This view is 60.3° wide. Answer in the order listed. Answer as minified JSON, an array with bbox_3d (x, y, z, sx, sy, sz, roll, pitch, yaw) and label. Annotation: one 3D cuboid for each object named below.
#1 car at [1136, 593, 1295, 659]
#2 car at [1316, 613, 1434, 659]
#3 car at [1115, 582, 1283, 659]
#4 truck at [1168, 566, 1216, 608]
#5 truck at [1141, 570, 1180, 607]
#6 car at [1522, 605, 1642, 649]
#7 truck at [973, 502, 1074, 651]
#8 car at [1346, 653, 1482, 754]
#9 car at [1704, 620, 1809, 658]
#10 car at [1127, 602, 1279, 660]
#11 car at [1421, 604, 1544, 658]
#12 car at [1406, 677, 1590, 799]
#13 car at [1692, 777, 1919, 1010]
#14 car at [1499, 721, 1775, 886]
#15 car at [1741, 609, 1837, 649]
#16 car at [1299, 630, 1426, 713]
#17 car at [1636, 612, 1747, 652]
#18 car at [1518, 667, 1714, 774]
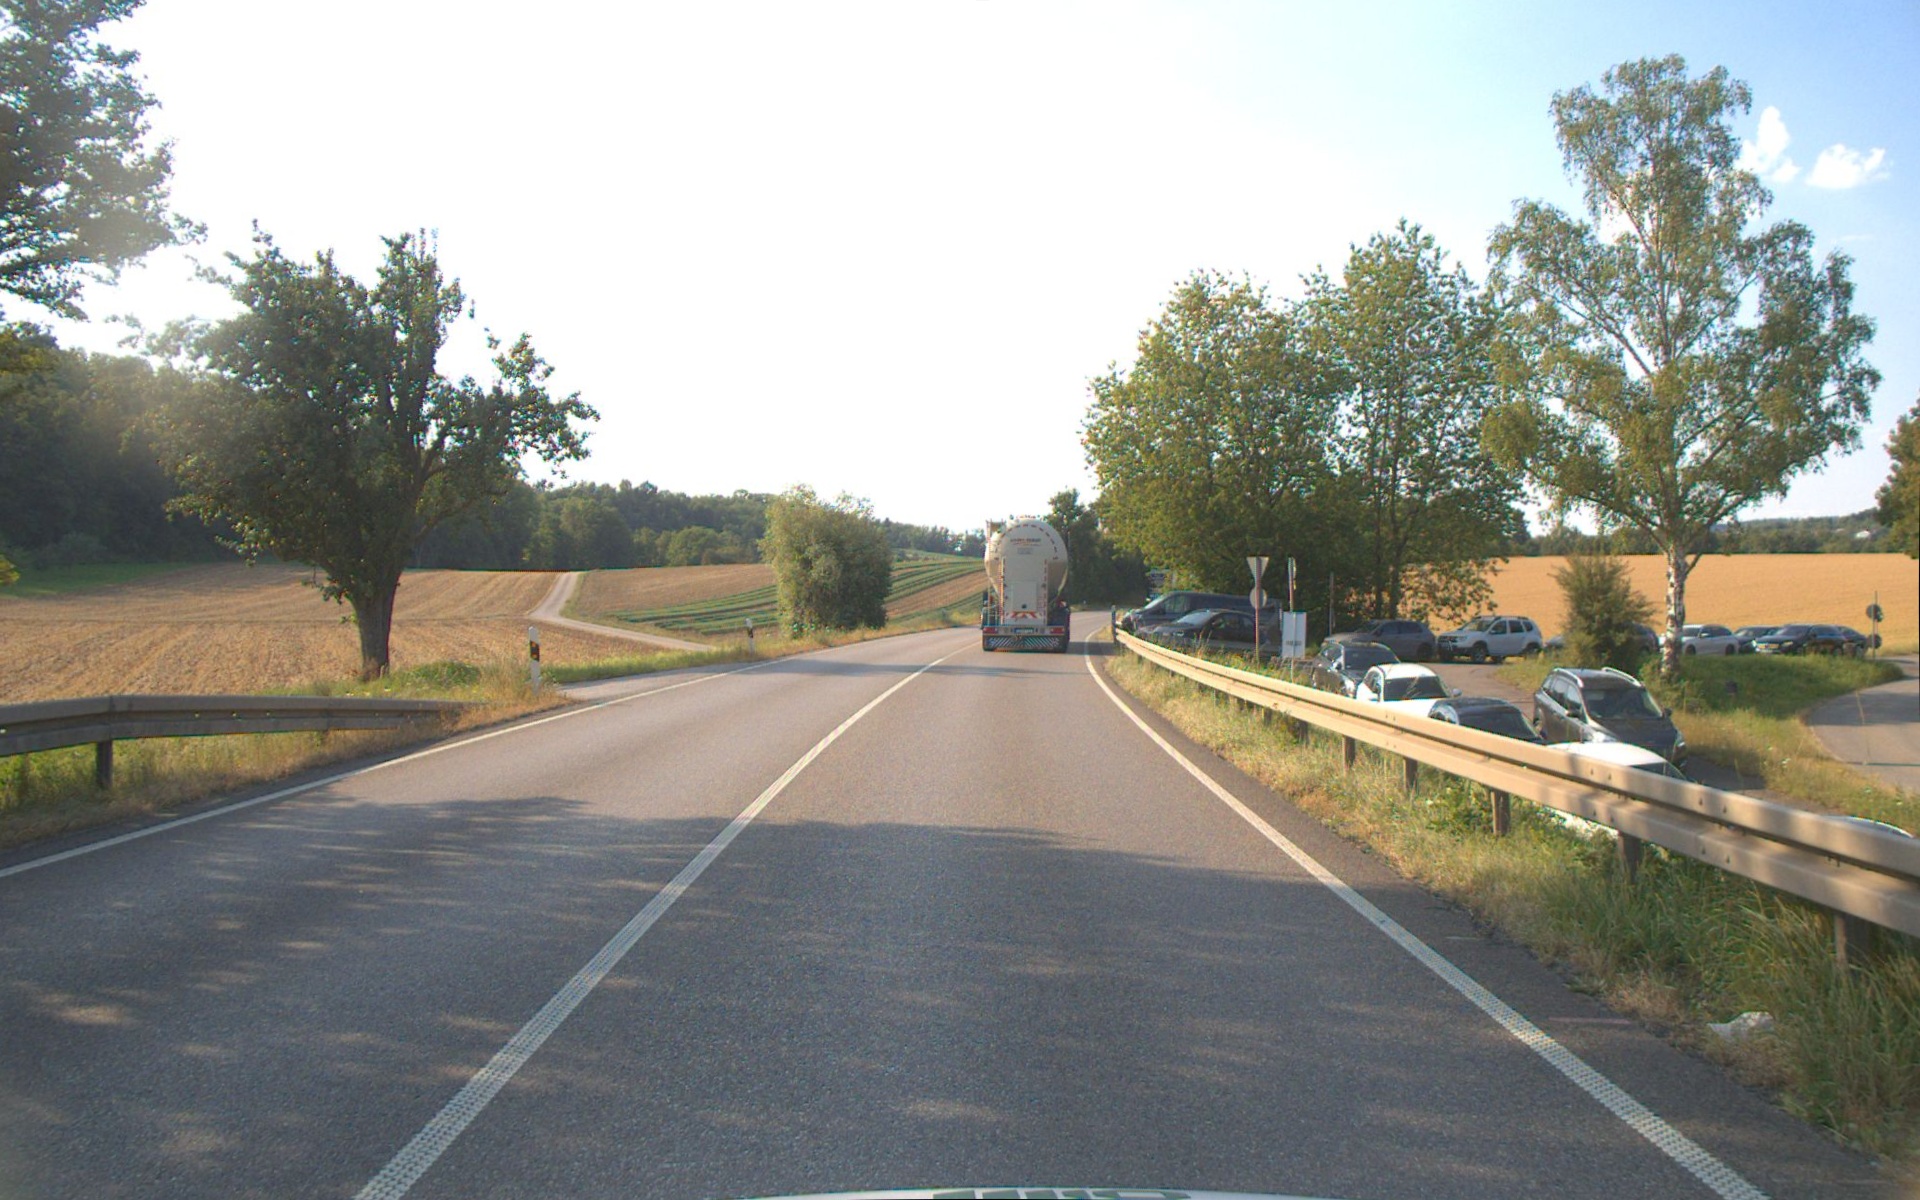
[{"bbox_3d":[7.271,0.739,46.944,4.263,1.535,1.705,4,0,-29],"label":"car"},{"bbox_3d":[14.523,1.254,57.872,3.669,1.466,1.798,2,0,-24],"label":"car"},{"bbox_3d":[7.689,0.629,53.568,5.035,1.977,1.975,5,1,1],"label":"car"},{"bbox_3d":[24.807,-1.458,176.259,3.116,4.301,13.181,0,1,17],"label":"truck"},{"bbox_3d":[22.350,-1.273,183.769,2.339,3.989,10.165,0,1,18],"label":"truck"},{"bbox_3d":[22.356,0.978,59.392,4.536,1.466,1.790,2,0,-35],"label":"car"},{"bbox_3d":[2.174,-0.699,53.689,2.832,4.215,13.177,1,0,3],"label":"truck"},{"bbox_3d":[9.694,2.160,35.650,1.852,1.586,4.786,-3,2,4],"label":"car"},{"bbox_3d":[33.768,1.629,70.090,4.586,1.533,1.977,1,0,-34],"label":"car"},{"bbox_3d":[7.308,0.938,49.771,4.257,1.424,1.707,4,1,-26],"label":"car"},{"bbox_3d":[18.988,1.098,60.075,4.150,1.778,1.797,-1,1,-25],"label":"car"},{"bbox_3d":[9.766,2.449,30.439,1.853,1.586,4.784,-3,2,1],"label":"car"},{"bbox_3d":[10.344,3.173,18.599,1.854,1.586,4.780,-3,2,-3],"label":"car"},{"bbox_3d":[9.810,2.887,24.444,1.854,1.586,4.780,-3,2,-3],"label":"car"},{"bbox_3d":[33.409,1.173,66.650,3.885,1.466,1.790,2,0,-34],"label":"car"},{"bbox_3d":[9.886,1.710,40.988,1.853,1.586,4.783,-3,2,-1],"label":"car"},{"bbox_3d":[29.563,1.288,66.840,4.586,1.533,1.977,1,0,-34],"label":"car"},{"bbox_3d":[12.479,2.238,31.827,1.853,1.704,4.782,1,0,0],"label":"car"}]
